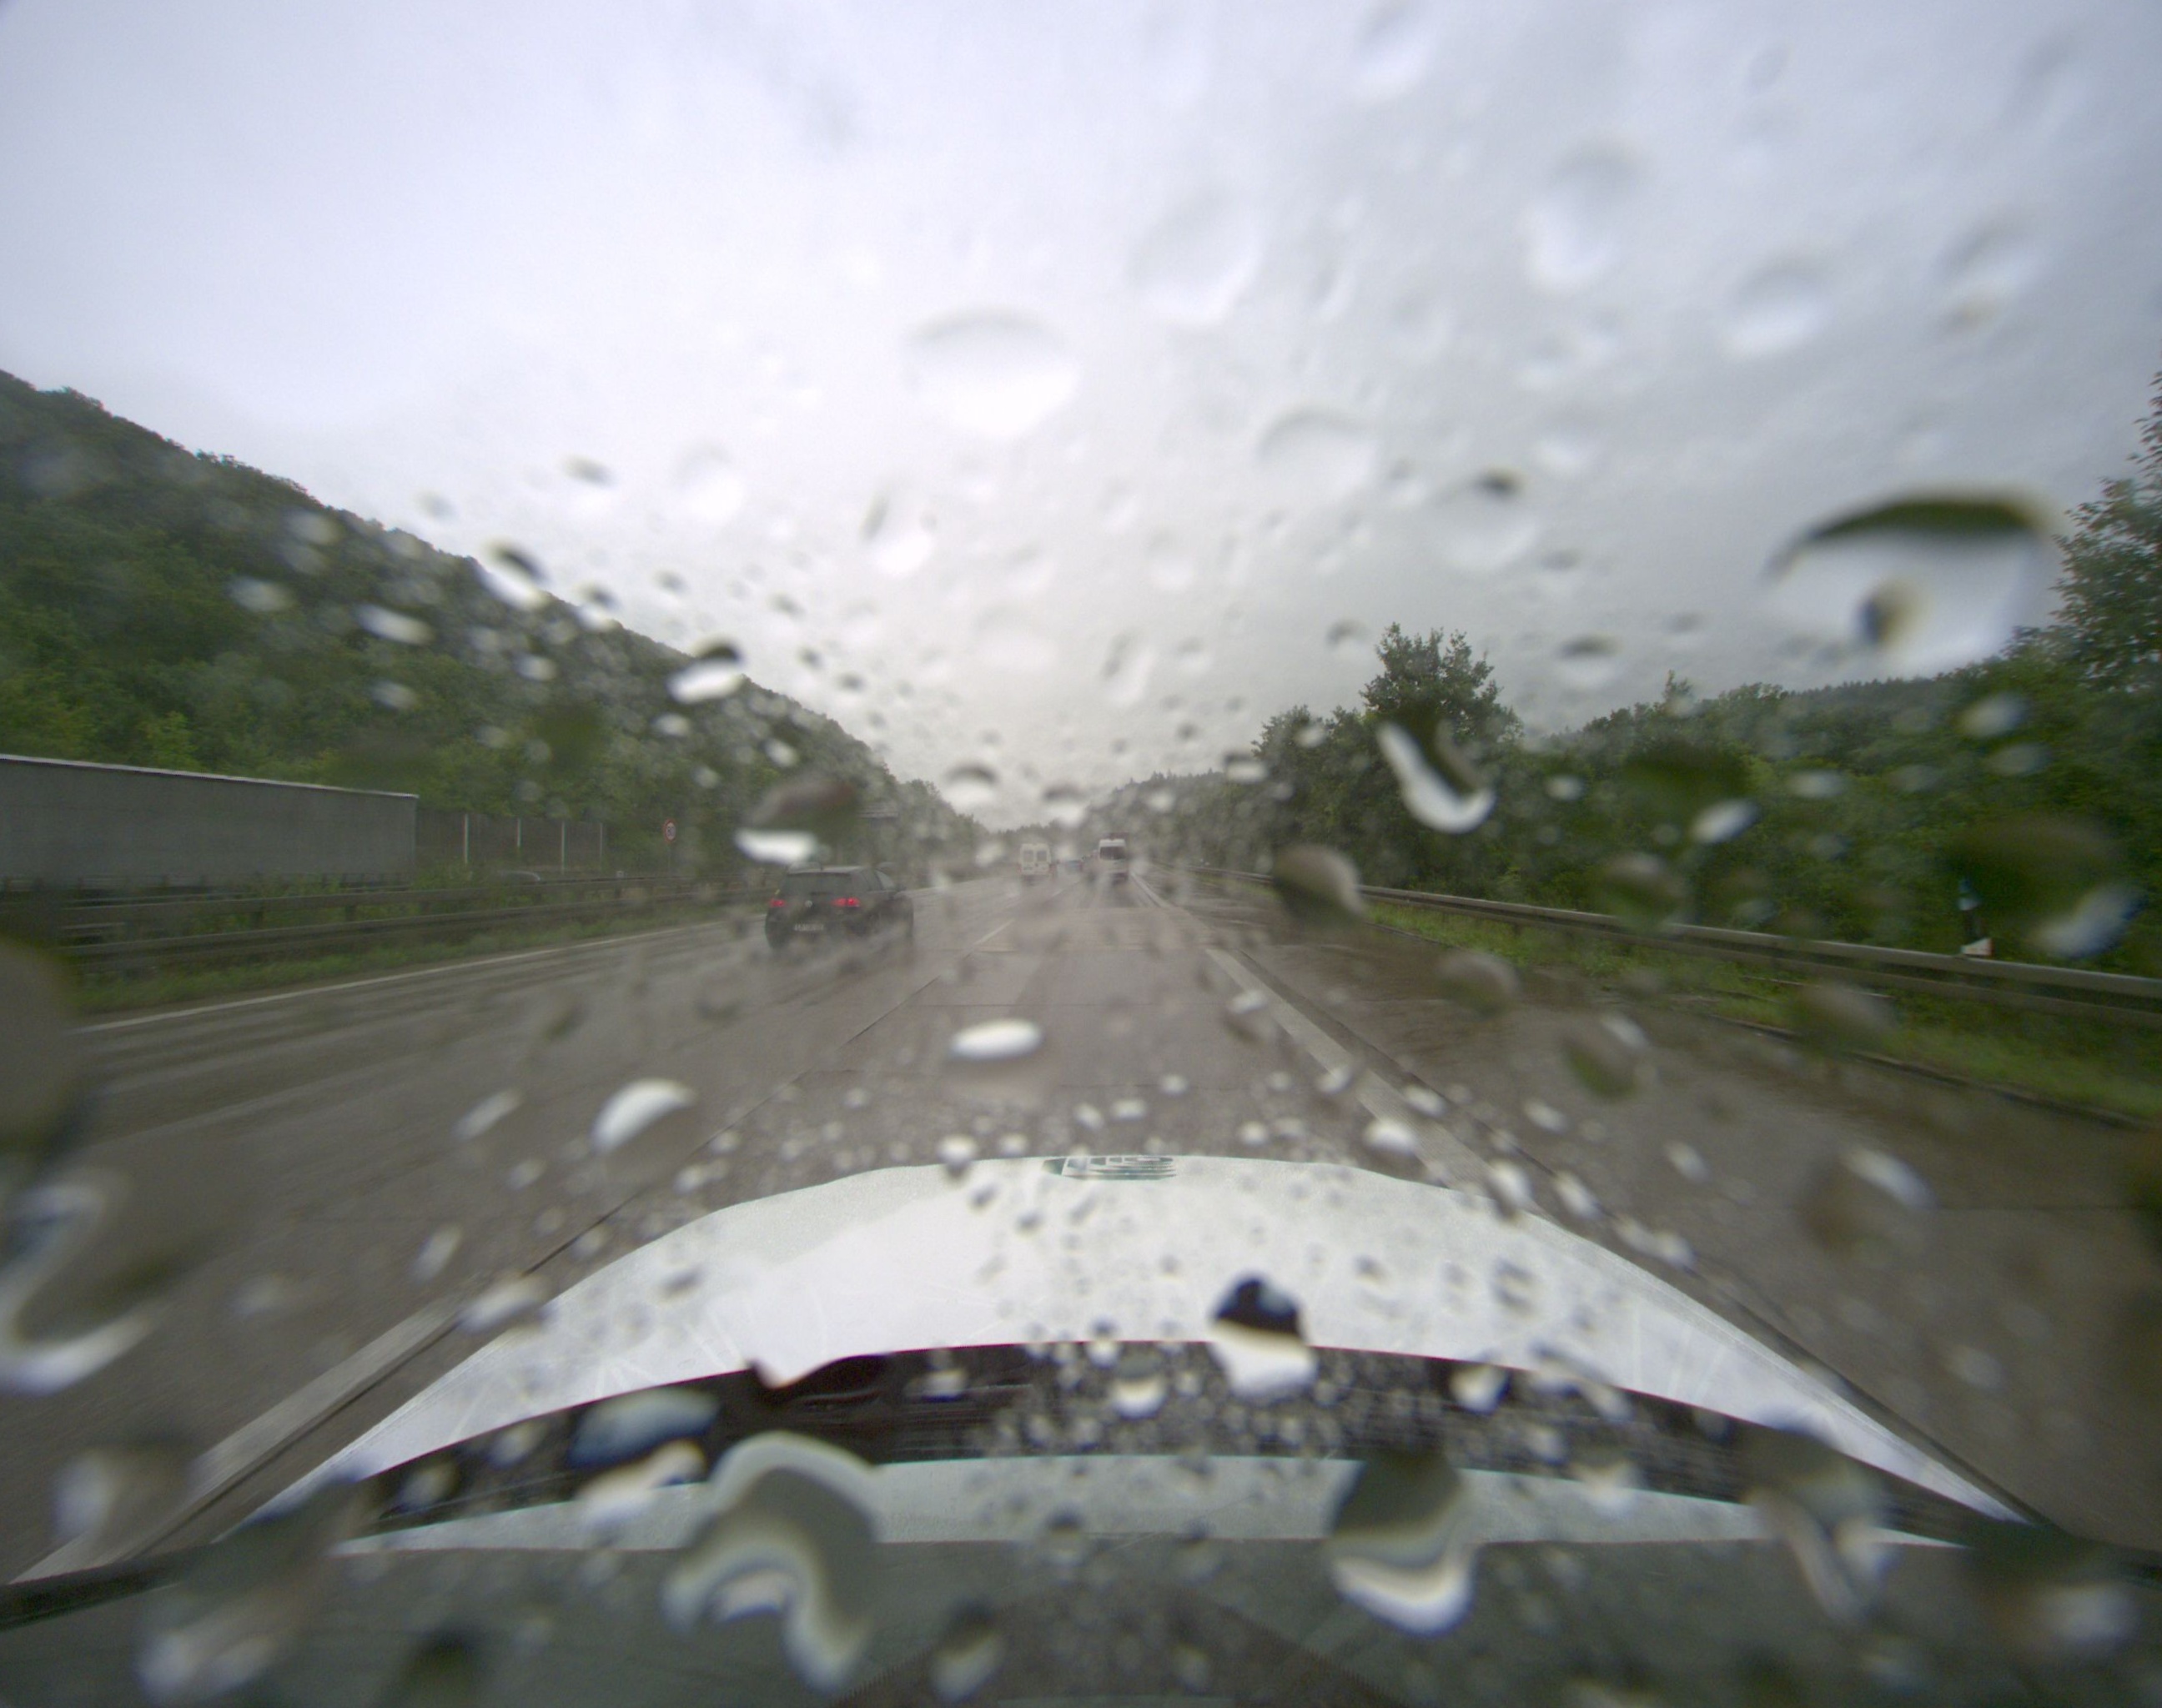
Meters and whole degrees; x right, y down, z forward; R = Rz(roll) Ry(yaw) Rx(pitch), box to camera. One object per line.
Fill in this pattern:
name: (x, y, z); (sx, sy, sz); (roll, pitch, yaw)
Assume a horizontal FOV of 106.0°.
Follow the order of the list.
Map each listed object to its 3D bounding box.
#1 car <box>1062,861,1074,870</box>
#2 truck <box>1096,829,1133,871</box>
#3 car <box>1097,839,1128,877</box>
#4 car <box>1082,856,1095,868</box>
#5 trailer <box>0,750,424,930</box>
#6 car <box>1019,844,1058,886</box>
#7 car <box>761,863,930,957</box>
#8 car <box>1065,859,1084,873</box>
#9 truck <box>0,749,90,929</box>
car: (-2.030, 1.821, 125.803); (1.851, 1.339, 4.349); (0, 0, -1)
truck: (3.322, -0.522, 81.935); (3.372, 3.968, 8.671); (-1, 2, 2)
car: (1.956, 0.269, 52.113); (1.893, 2.334, 5.251); (0, 0, 1)
car: (1.078, 1.177, 119.716); (1.862, 1.810, 4.189); (0, 0, 1)
trailer: (-24.025, -0.285, 20.853); (2.756, 3.801, 13.785); (0, 0, 2)
car: (-2.577, 0.644, 50.538); (1.991, 2.432, 5.791); (0, 0, 1)
car: (-4.079, 0.899, 14.872); (1.735, 1.388, 4.321); (-2, -1, 1)
car: (-0.682, 1.233, 83.134); (1.851, 1.339, 4.349); (0, 0, -1)
truck: (-24.294, -0.322, 14.865); (2.764, 3.801, 7.685); (0, 0, 2)
